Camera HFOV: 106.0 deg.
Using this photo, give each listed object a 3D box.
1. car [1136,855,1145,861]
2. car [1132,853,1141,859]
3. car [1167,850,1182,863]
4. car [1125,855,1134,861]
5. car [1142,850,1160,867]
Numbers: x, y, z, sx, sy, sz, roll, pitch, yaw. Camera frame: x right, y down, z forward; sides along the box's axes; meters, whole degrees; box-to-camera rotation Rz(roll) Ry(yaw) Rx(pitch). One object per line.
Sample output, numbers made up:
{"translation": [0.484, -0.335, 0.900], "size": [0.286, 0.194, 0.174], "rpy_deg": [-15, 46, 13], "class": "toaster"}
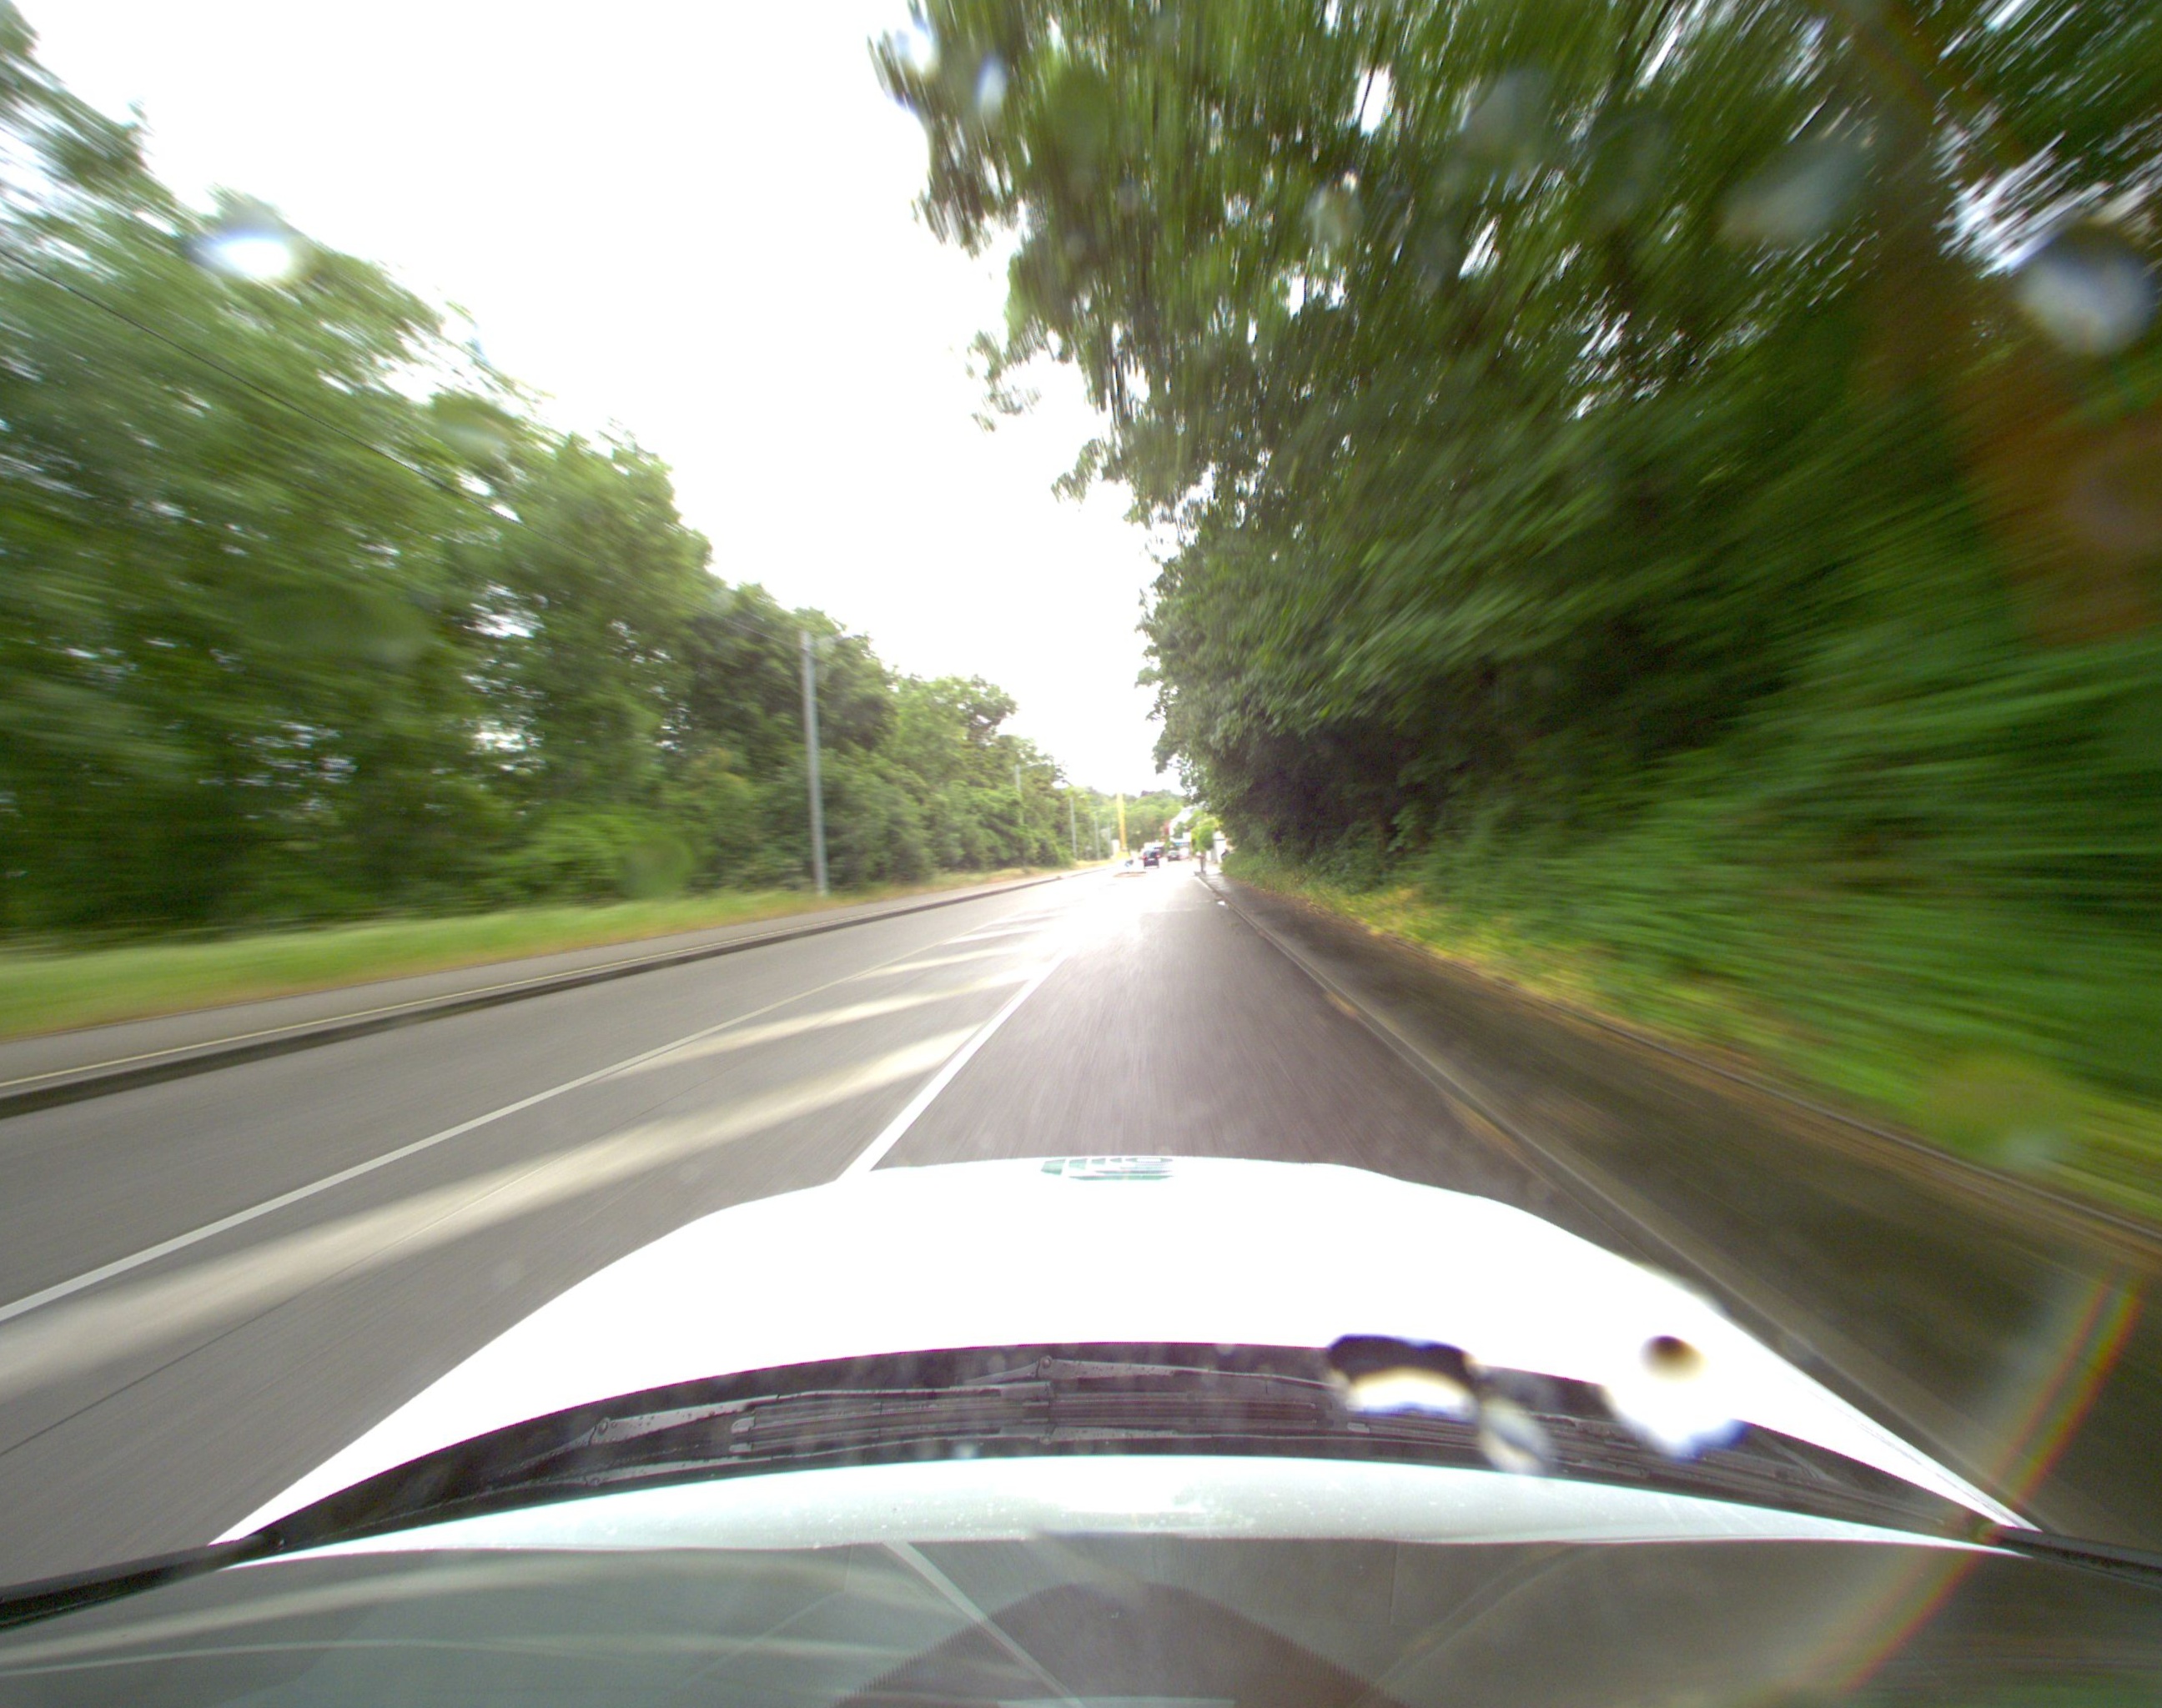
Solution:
{"translation": [16.112, 0.989, 220.201], "size": [1.738, 1.552, 3.846], "rpy_deg": [-3, 0, -7], "class": "car"}
{"translation": [15.333, 0.522, 225.352], "size": [1.738, 1.552, 3.846], "rpy_deg": [-1, -1, -7], "class": "car"}
{"translation": [13.199, 0.323, 115.050], "size": [1.983, 1.772, 4.122], "rpy_deg": [-1, 0, 7], "class": "car"}
{"translation": [13.821, 1.194, 232.740], "size": [1.738, 1.552, 3.846], "rpy_deg": [-3, 0, -7], "class": "car"}
{"translation": [6.958, 0.472, 80.898], "size": [1.659, 1.594, 3.690], "rpy_deg": [-2, 0, 7], "class": "car"}
